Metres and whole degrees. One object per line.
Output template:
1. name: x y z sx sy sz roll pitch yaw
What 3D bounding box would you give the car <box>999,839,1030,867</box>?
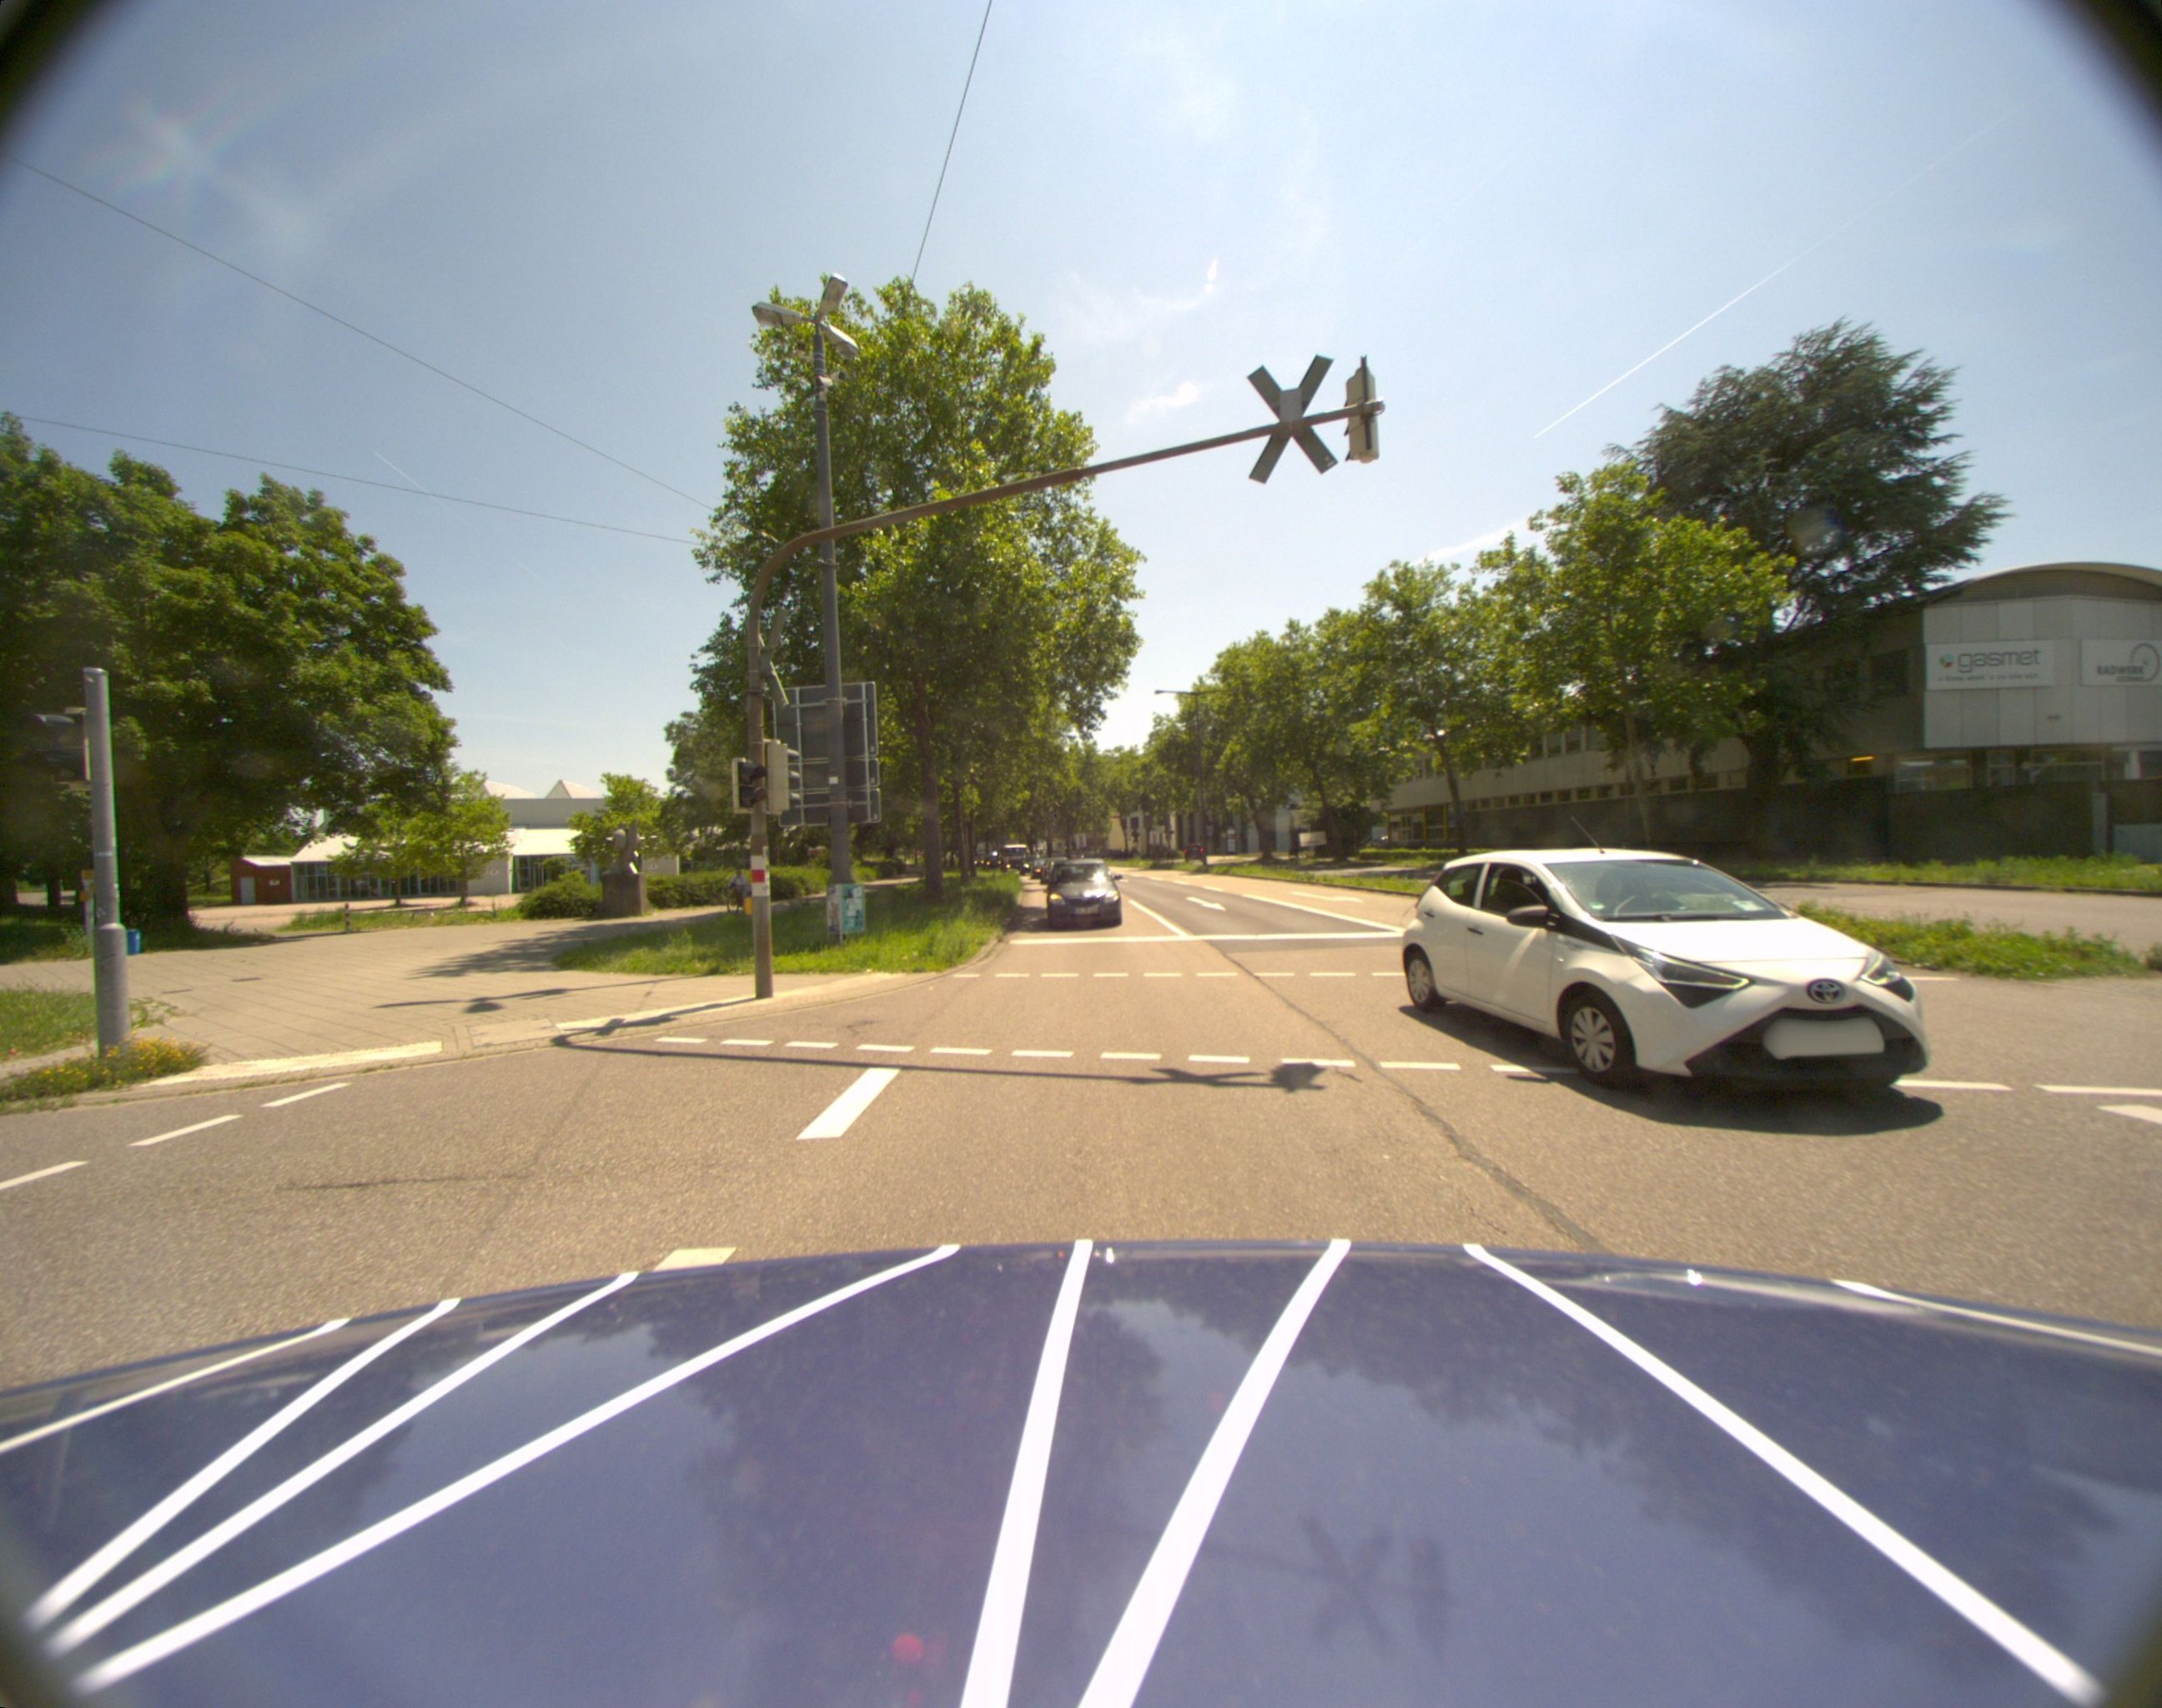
1. car: -6.778 -0.108 77.069 2.919 2.639 6.362 -2 1 -6

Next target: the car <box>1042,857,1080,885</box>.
1. car: -1.149 0.904 41.941 1.879 1.448 3.784 0 0 -5

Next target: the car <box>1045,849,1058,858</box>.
1. car: -5.357 -0.050 137.948 1.738 1.451 3.670 -2 0 -12

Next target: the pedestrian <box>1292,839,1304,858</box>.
1. pedestrian: 18.256 -0.441 63.795 0.644 1.551 0.790 -2 1 -11

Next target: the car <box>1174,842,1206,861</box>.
1. car: 10.662 -0.252 74.526 1.917 1.669 4.440 -2 1 -8

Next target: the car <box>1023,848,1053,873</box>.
1. car: -3.417 0.468 59.750 2.000 1.783 3.997 -2 1 -7

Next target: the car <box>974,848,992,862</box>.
1. car: -13.870 0.187 107.005 2.001 1.827 3.995 -2 1 -14

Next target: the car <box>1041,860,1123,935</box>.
1. car: 0.042 0.920 17.717 1.654 1.453 3.865 -2 0 1

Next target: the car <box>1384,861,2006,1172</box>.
1. car: 3.812 0.830 5.631 1.623 1.437 3.651 -2 1 0

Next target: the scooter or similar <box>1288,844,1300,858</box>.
1. scooter or similar: 18.116 -0.295 64.622 0.680 1.157 0.858 -2 1 -11

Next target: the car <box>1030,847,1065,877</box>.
1. car: -2.318 0.490 51.358 2.000 1.871 3.997 -2 1 -7

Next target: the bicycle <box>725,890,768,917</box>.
1. bicycle: -11.178 1.646 25.461 0.464 0.760 1.669 -2 1 9

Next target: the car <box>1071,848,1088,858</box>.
1. car: -0.286 -0.198 120.031 1.860 1.410 4.542 -2 1 -12

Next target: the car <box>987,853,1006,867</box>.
1. car: -10.549 0.696 94.944 2.000 1.608 3.996 -2 0 -10

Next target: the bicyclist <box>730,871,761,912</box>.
1. bicyclist: -11.218 1.243 25.420 0.600 1.331 0.666 -2 1 8

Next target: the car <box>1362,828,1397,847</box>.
1. car: 28.567 -1.596 72.918 1.820 1.638 3.526 -4 1 -2

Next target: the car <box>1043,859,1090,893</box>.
1. car: -0.690 0.931 33.703 1.792 1.325 3.741 -3 1 -5
